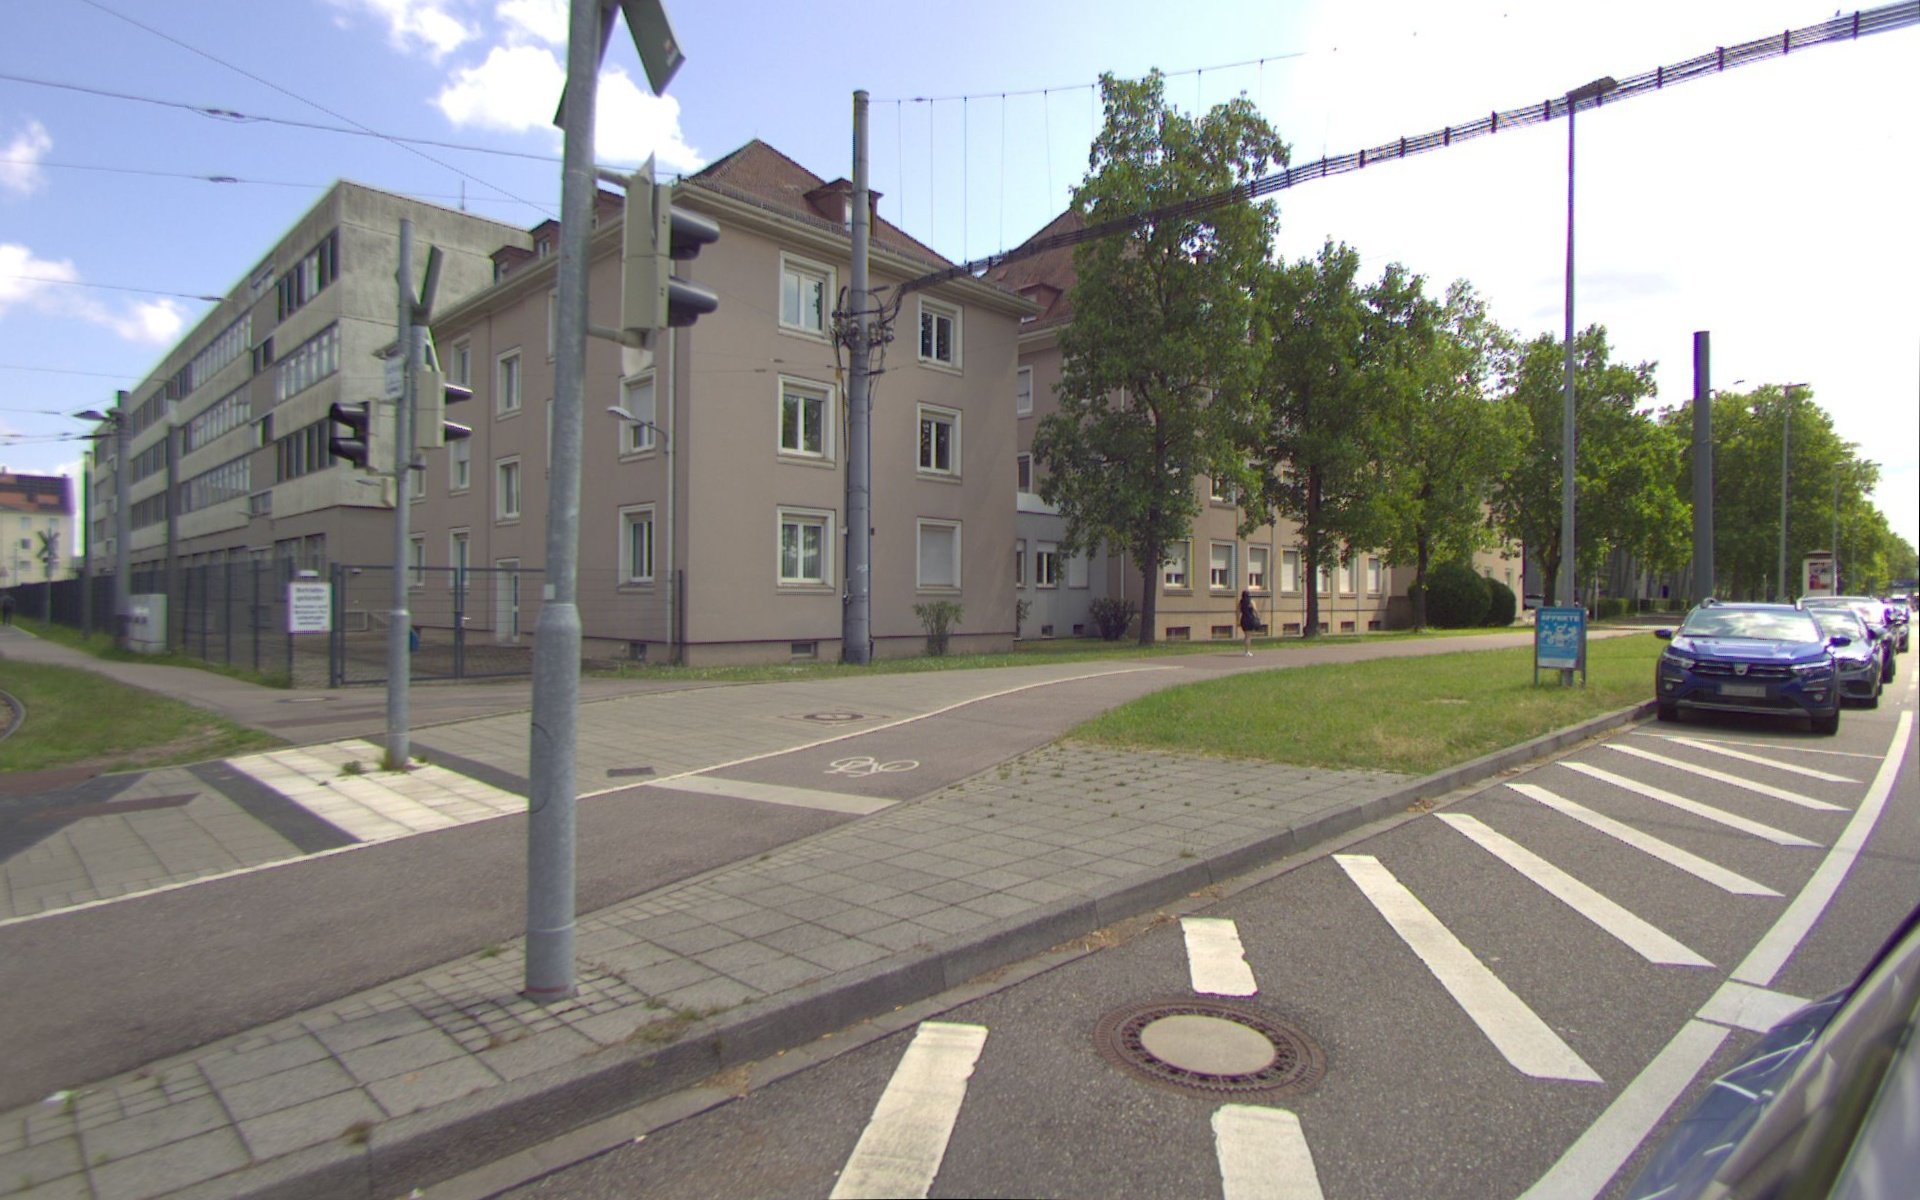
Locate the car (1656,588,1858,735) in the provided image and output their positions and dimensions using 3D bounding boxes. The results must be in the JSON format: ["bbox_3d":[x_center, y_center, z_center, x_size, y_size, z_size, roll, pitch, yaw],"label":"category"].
[{"bbox_3d":[10.458,0.642,13.154,1.778,1.559,4.353,2,1,42],"label":"car"}]

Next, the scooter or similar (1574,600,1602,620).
[{"bbox_3d":[41.086,0.632,66.245,0.536,1.320,1.446,0,0,-30],"label":"scooter or similar"}]

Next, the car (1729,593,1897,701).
[{"bbox_3d":[14.075,0.660,16.588,1.816,1.472,4.911,2,1,44],"label":"car"}]

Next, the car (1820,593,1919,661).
[{"bbox_3d":[23.199,0.612,25.731,4.370,1.549,1.645,0,1,-45],"label":"car"}]

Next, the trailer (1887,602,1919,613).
[{"bbox_3d":[75.746,0.599,80.832,2.298,0.838,6.711,0,1,44],"label":"trailer"}]

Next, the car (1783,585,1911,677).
[{"bbox_3d":[18.612,0.567,21.156,1.816,1.683,4.597,2,1,44],"label":"car"}]

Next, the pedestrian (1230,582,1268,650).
[{"bbox_3d":[7.069,0.387,24.756,0.613,1.628,0.623,0,1,-40],"label":"pedestrian"}]

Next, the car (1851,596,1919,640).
[{"bbox_3d":[34.414,0.616,37.603,3.728,1.498,1.708,0,1,-45],"label":"car"}]

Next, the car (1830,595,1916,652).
[{"bbox_3d":[27.146,0.632,30.051,3.787,1.534,1.670,0,2,-45],"label":"car"}]

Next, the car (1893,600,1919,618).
[{"bbox_3d":[83.060,0.774,88.734,1.805,1.524,3.675,0,0,44],"label":"car"}]

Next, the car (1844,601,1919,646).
[{"bbox_3d":[30.380,0.724,33.254,1.824,1.328,4.372,1,1,44],"label":"car"}]
